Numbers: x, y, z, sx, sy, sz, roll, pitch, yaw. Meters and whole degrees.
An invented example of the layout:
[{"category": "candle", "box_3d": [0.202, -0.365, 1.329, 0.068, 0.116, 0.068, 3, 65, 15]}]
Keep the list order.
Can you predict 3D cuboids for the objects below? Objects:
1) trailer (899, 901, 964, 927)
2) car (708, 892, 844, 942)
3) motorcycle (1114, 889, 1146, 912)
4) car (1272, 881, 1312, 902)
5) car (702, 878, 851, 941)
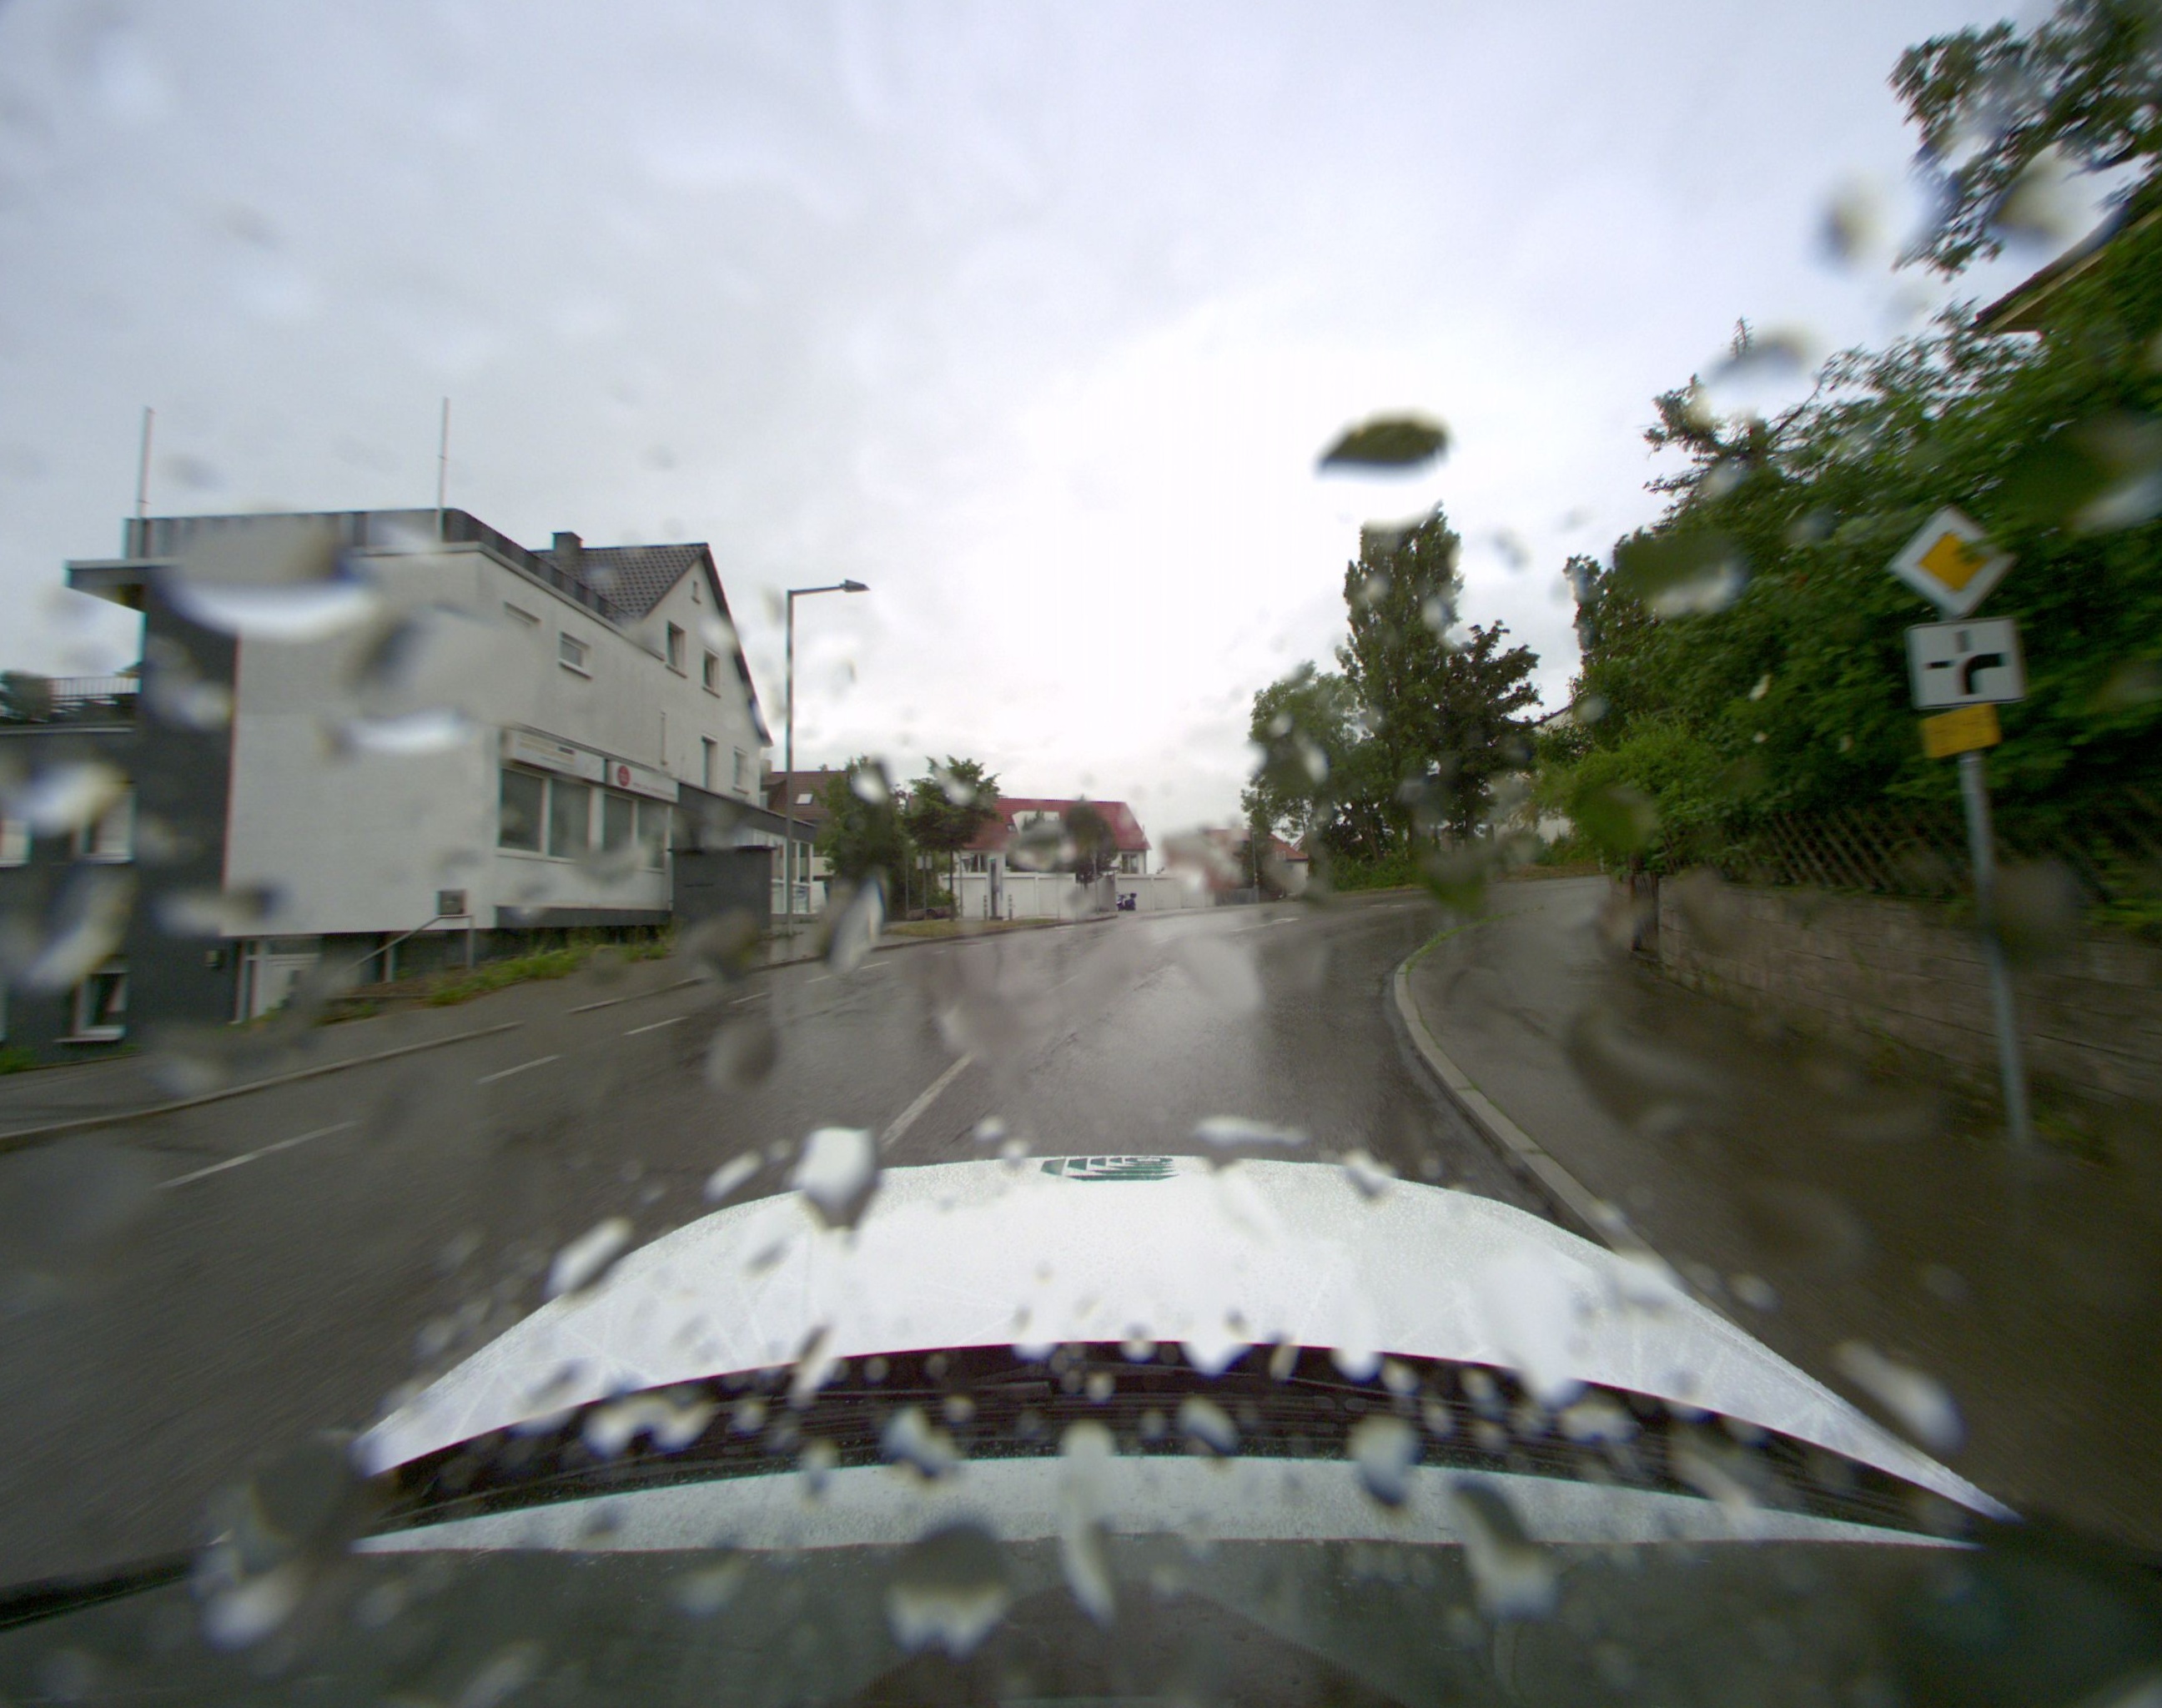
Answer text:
[{"category": "trailer", "box_3d": [-7.348, 2.952, 40.172, 2.803, 1.007, 1.594, -5, -2, 1]}, {"category": "car", "box_3d": [-12.591, 2.589, 33.854, 4.764, 1.706, 2.066, -4, -3, -1]}, {"category": "motorcycle", "box_3d": [3.075, 2.900, 50.787, 0.700, 1.322, 2.058, -7, -4, 44]}, {"category": "car", "box_3d": [17.829, 3.174, 68.564, 1.974, 1.508, 4.025, -6, -3, 33]}, {"category": "car", "box_3d": [-14.551, 2.641, 39.189, 6.223, 2.523, 2.187, -4, -3, -5]}]
